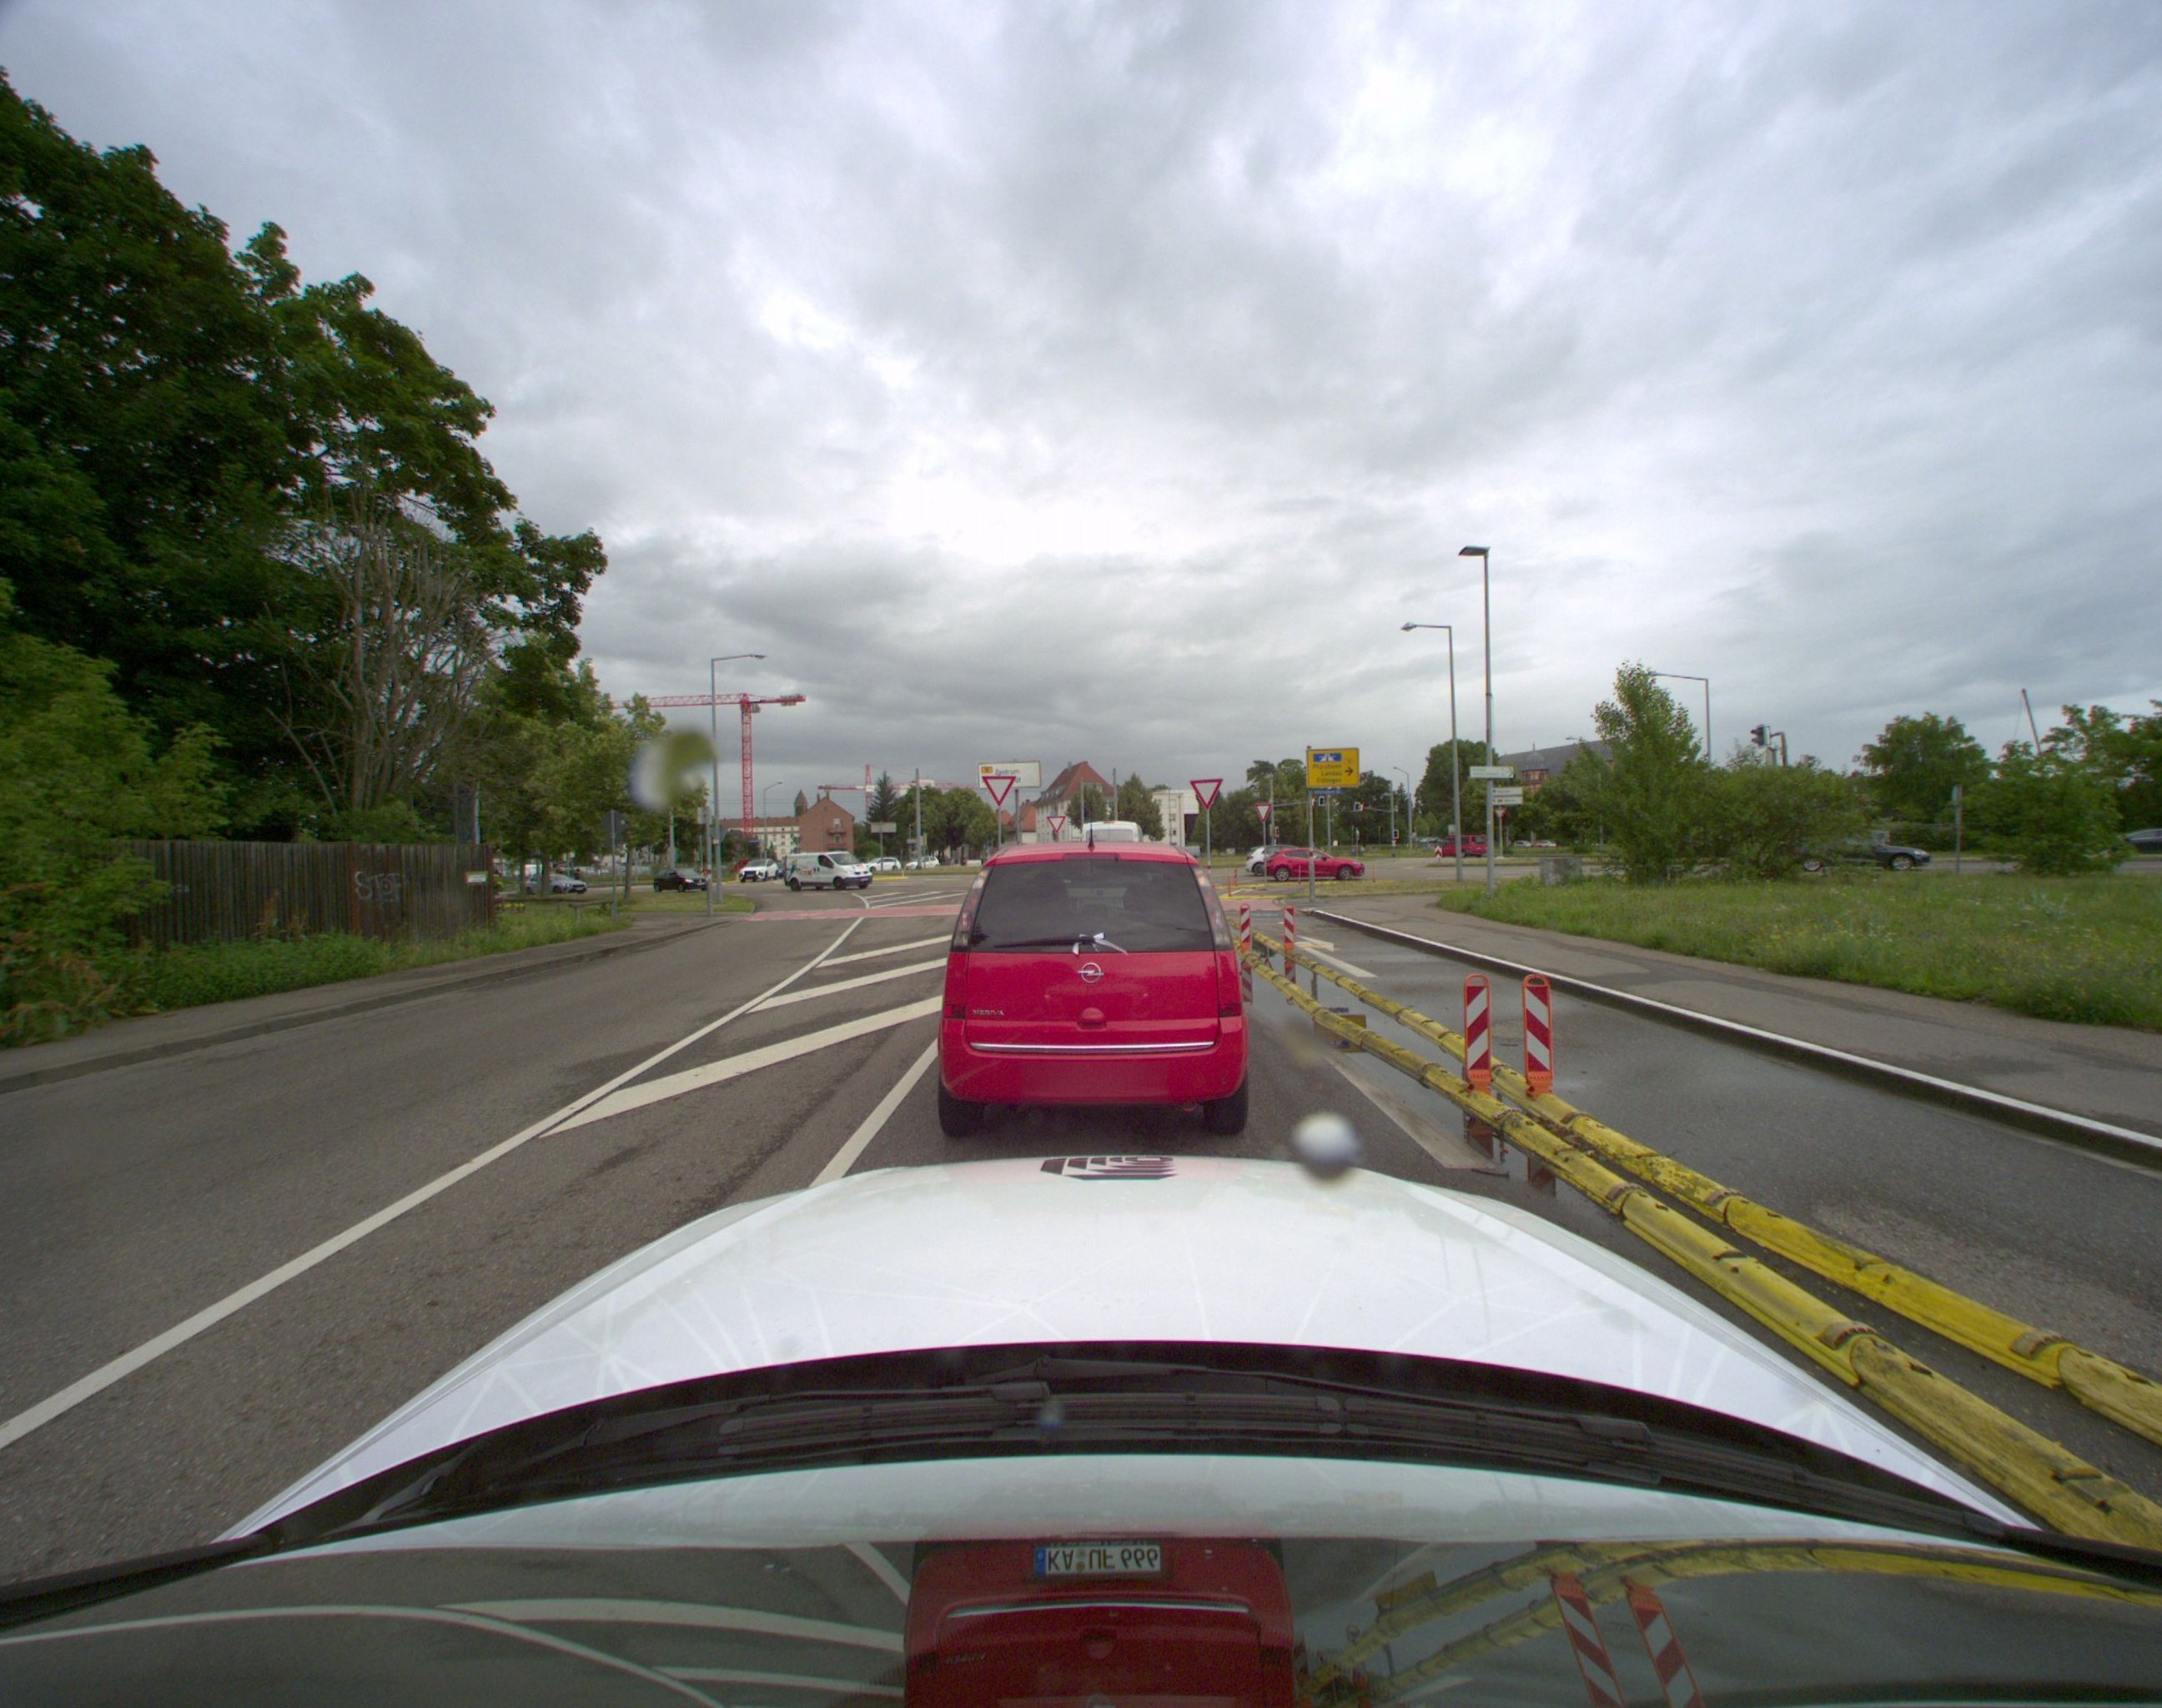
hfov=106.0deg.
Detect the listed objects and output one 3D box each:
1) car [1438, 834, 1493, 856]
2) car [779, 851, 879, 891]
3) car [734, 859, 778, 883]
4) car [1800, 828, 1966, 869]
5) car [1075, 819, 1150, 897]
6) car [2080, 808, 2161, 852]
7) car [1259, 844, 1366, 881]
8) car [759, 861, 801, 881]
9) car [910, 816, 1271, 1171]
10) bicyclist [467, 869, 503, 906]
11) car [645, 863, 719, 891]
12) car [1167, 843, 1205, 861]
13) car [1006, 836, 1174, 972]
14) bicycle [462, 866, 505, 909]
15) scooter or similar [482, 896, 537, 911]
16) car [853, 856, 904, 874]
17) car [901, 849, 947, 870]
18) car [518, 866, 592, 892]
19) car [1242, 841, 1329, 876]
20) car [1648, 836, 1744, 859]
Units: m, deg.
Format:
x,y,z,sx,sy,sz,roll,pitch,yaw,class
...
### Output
x,y,z,sx,sy,sz,roll,pitch,yaw,class
35.505,-0.776,75.387,2.110,1.917,4.871,-2,0,-12,car
-13.050,0.890,42.101,4.787,1.900,2.112,-2,0,28,car
-24.564,1.225,61.702,1.928,1.684,4.180,-2,0,-6,car
31.816,-0.208,32.485,4.268,1.464,2.012,-2,0,25,car
1.225,0.132,29.058,2.183,2.540,4.973,-1,0,7,car
51.080,-1.163,38.394,2.011,2.013,4.881,-2,0,-42,car
10.227,0.375,36.235,4.320,1.464,2.004,-2,0,7,car
-25.234,1.388,68.397,1.923,1.489,4.002,-2,0,2,car
0.100,0.646,5.607,1.667,1.640,3.629,-1,0,2,car
-23.098,1.300,31.562,1.052,1.401,0.618,-2,0,21,bicyclist
-24.092,1.389,49.111,4.382,1.602,2.112,-2,0,35,car
13.140,-0.259,101.751,4.428,2.013,2.009,-2,0,17,car
0.185,0.609,12.310,2.052,1.648,4.609,-1,0,2,car
-23.196,1.310,31.616,1.464,1.612,0.609,-2,0,20,bicycle
-21.651,1.875,30.860,1.593,0.504,0.929,-2,0,21,scooter or similar
-20.176,1.055,81.269,1.974,1.635,4.705,-2,0,38,car
-16.496,0.563,85.823,1.974,2.013,4.509,-2,0,37,car
-35.139,1.674,54.408,4.385,1.602,2.111,-2,0,24,car
9.894,0.219,39.662,3.962,1.508,2.006,-2,0,10,car
40.116,-0.414,53.201,2.011,1.297,4.698,-2,0,-42,car
